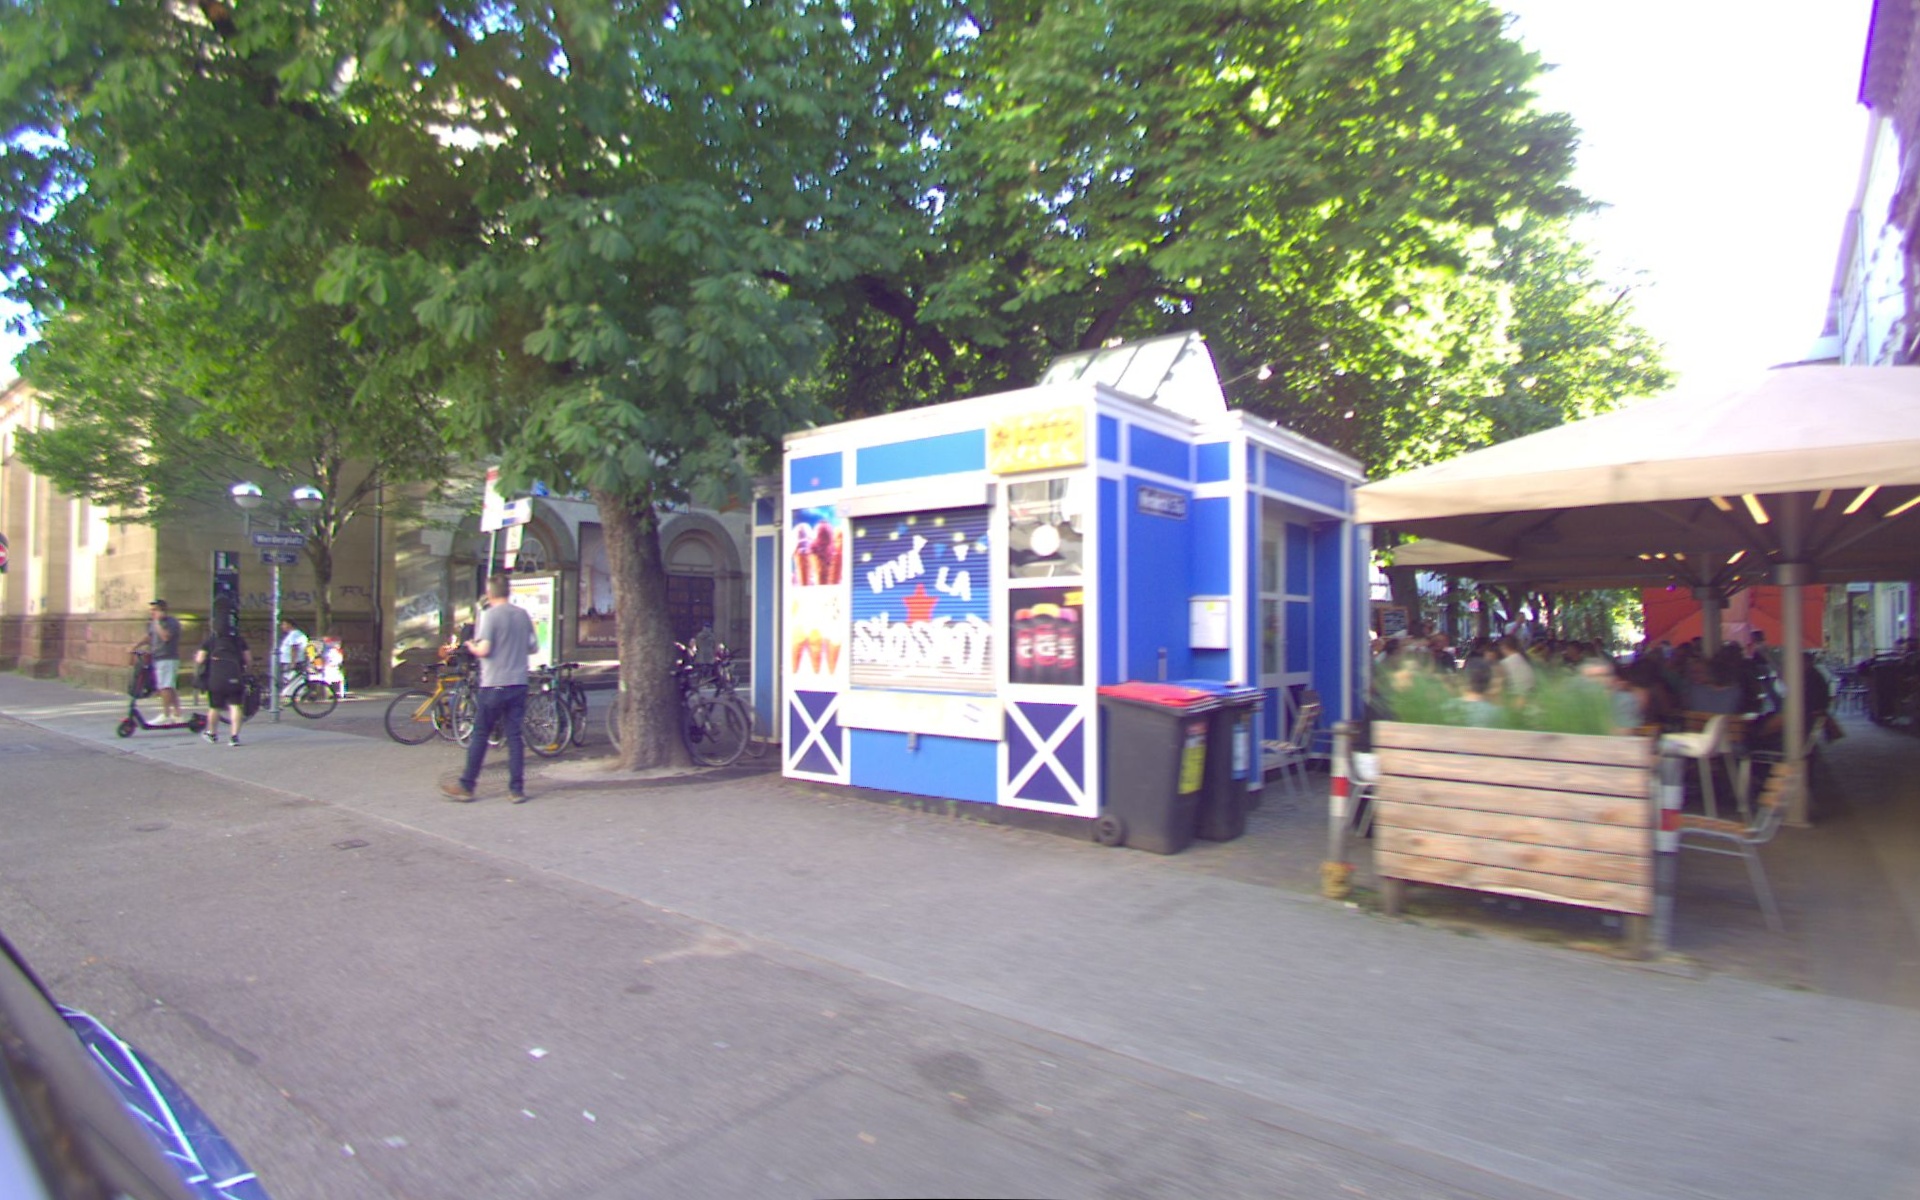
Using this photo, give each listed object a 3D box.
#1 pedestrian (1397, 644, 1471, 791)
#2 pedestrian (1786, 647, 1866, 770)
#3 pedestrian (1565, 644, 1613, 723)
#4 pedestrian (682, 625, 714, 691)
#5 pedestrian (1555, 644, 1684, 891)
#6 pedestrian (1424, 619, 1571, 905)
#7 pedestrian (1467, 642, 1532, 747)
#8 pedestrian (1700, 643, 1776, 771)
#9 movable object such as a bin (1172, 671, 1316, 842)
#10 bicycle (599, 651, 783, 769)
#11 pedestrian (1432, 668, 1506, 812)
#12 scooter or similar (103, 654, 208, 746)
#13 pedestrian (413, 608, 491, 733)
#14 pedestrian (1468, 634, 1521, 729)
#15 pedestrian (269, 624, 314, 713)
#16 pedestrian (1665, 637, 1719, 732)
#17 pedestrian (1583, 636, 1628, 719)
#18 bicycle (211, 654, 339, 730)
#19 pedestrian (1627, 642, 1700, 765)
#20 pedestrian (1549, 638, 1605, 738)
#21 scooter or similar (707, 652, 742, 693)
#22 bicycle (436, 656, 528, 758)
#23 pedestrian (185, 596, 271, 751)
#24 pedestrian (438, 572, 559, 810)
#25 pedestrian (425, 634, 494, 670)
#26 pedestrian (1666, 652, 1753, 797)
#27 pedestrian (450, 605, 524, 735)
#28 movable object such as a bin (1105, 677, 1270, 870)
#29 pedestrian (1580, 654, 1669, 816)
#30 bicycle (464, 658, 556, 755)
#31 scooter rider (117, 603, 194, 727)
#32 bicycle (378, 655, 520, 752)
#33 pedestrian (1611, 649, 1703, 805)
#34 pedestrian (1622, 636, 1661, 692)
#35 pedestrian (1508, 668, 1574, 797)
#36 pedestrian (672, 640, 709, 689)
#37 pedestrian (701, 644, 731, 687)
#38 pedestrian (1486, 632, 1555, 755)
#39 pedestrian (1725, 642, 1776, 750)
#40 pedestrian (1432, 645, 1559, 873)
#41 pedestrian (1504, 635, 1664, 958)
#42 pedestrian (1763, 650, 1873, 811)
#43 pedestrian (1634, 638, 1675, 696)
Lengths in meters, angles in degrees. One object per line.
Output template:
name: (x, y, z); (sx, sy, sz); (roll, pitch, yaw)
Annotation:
pedestrian: (4.313, 1.047, 9.210); (0.514, 1.273, 0.420); (-1, -2, 40)
pedestrian: (9.694, 1.190, 11.345); (0.621, 1.329, 0.467); (-2, -3, 39)
pedestrian: (10.858, 1.429, 17.461); (0.621, 1.333, 0.467); (-2, -3, 39)
pedestrian: (-6.652, 1.459, 25.691); (0.547, 1.644, 0.556); (0, -1, 26)
pedestrian: (4.091, 0.978, 6.269); (0.616, 1.386, 0.699); (-1, -1, 37)
pedestrian: (3.017, 0.840, 5.666); (0.616, 1.456, 0.699); (-1, -1, 37)
pedestrian: (6.891, 1.190, 12.931); (0.621, 1.296, 0.510); (-2, -3, 39)
pedestrian: (8.685, 1.169, 11.310); (0.621, 1.372, 0.467); (-2, -3, 39)
movable object such as a bin: (2.097, 1.104, 7.452); (0.745, 1.095, 0.861); (-1, -1, 39)
bicycle: (-2.831, 1.111, 10.574); (2.026, 1.139, 0.494); (-1, -1, 25)
pedestrian: (4.301, 1.155, 8.551); (0.425, 1.129, 0.649); (-1, -2, 39)
scooter or similar: (-11.127, 1.364, 14.012); (0.514, 1.169, 1.044); (-1, -1, 37)
pedestrian: (-7.732, 1.037, 15.396); (1.001, 1.839, 0.687); (-1, -1, 37)
pedestrian: (8.318, 1.256, 15.761); (0.621, 1.450, 0.467); (-2, -3, 39)
pedestrian: (-12.432, 1.252, 18.826); (0.713, 1.605, 0.474); (-1, -1, 36)
pedestrian: (11.427, 1.307, 15.797); (0.621, 1.450, 0.467); (-2, -3, 39)
pedestrian: (11.993, 1.424, 18.798); (0.621, 1.496, 0.467); (-2, -3, 39)
bicycle: (-10.907, 1.441, 16.173); (0.346, 1.073, 1.674); (-1, -1, 36)
pedestrian: (8.114, 1.169, 11.672); (0.621, 1.372, 0.467); (-2, -3, 39)
pedestrian: (9.165, 1.291, 15.045); (0.621, 1.450, 0.467); (-2, -3, 39)
scooter or similar: (-6.080, 1.863, 26.159); (0.721, 1.013, 0.505); (0, -1, -41)
bicycle: (-5.477, 1.192, 11.555); (1.576, 1.091, 0.289); (-2, -2, 39)
pedestrian: (-9.271, 0.900, 12.824); (0.719, 1.887, 0.709); (-1, -1, 38)
pedestrian: (-3.796, 0.701, 8.322); (0.696, 1.847, 0.640); (-1, 0, 38)
pedestrian: (-11.650, 1.199, 23.555); (1.405, 0.766, 0.947); (-1, -1, 38)
pedestrian: (7.220, 1.171, 9.749); (0.621, 1.329, 0.508); (-2, -3, 39)
pedestrian: (-6.983, 1.005, 14.951); (0.687, 1.849, 0.754); (-1, -1, 37)
movable object such as a bin: (1.522, 1.099, 6.748); (0.773, 1.095, 0.861); (-1, -1, 39)
pedestrian: (5.683, 1.118, 8.650); (0.588, 1.275, 0.640); (-1, -1, 37)
bicycle: (-5.269, 1.210, 11.800); (1.576, 1.054, 0.289); (-2, -2, 39)
scooter rider: (-11.159, 0.877, 14.043); (0.719, 1.660, 0.681); (-1, -1, 37)
bicycle: (-6.383, 1.264, 12.696); (1.554, 1.090, 0.347); (0, -1, -41)
pedestrian: (6.357, 1.126, 9.229); (0.621, 1.351, 0.508); (-2, -3, 39)
pedestrian: (16.813, 1.570, 24.976); (0.725, 1.343, 0.467); (-2, -3, 39)
pedestrian: (5.193, 1.162, 9.040); (0.425, 1.079, 0.508); (-1, -2, 40)
pedestrian: (-7.041, 1.675, 26.461); (0.740, 1.241, 0.607); (-1, -1, 38)
pedestrian: (-6.486, 1.735, 26.951); (0.490, 1.116, 0.609); (-1, -1, 38)
pedestrian: (6.768, 1.106, 12.214); (0.621, 1.430, 0.510); (-2, -3, 39)
pedestrian: (10.442, 1.248, 13.373); (0.501, 1.372, 0.467); (-1, -3, 39)
pedestrian: (3.475, 0.976, 6.560); (0.616, 1.341, 0.699); (-1, -1, 37)
pedestrian: (3.159, 0.915, 5.111); (0.616, 1.456, 0.699); (-1, -1, 37)
pedestrian: (7.580, 1.121, 8.967); (0.677, 1.351, 0.552); (-2, -3, 39)
pedestrian: (16.269, 1.560, 23.702); (0.725, 1.343, 0.467); (-2, -3, 39)
